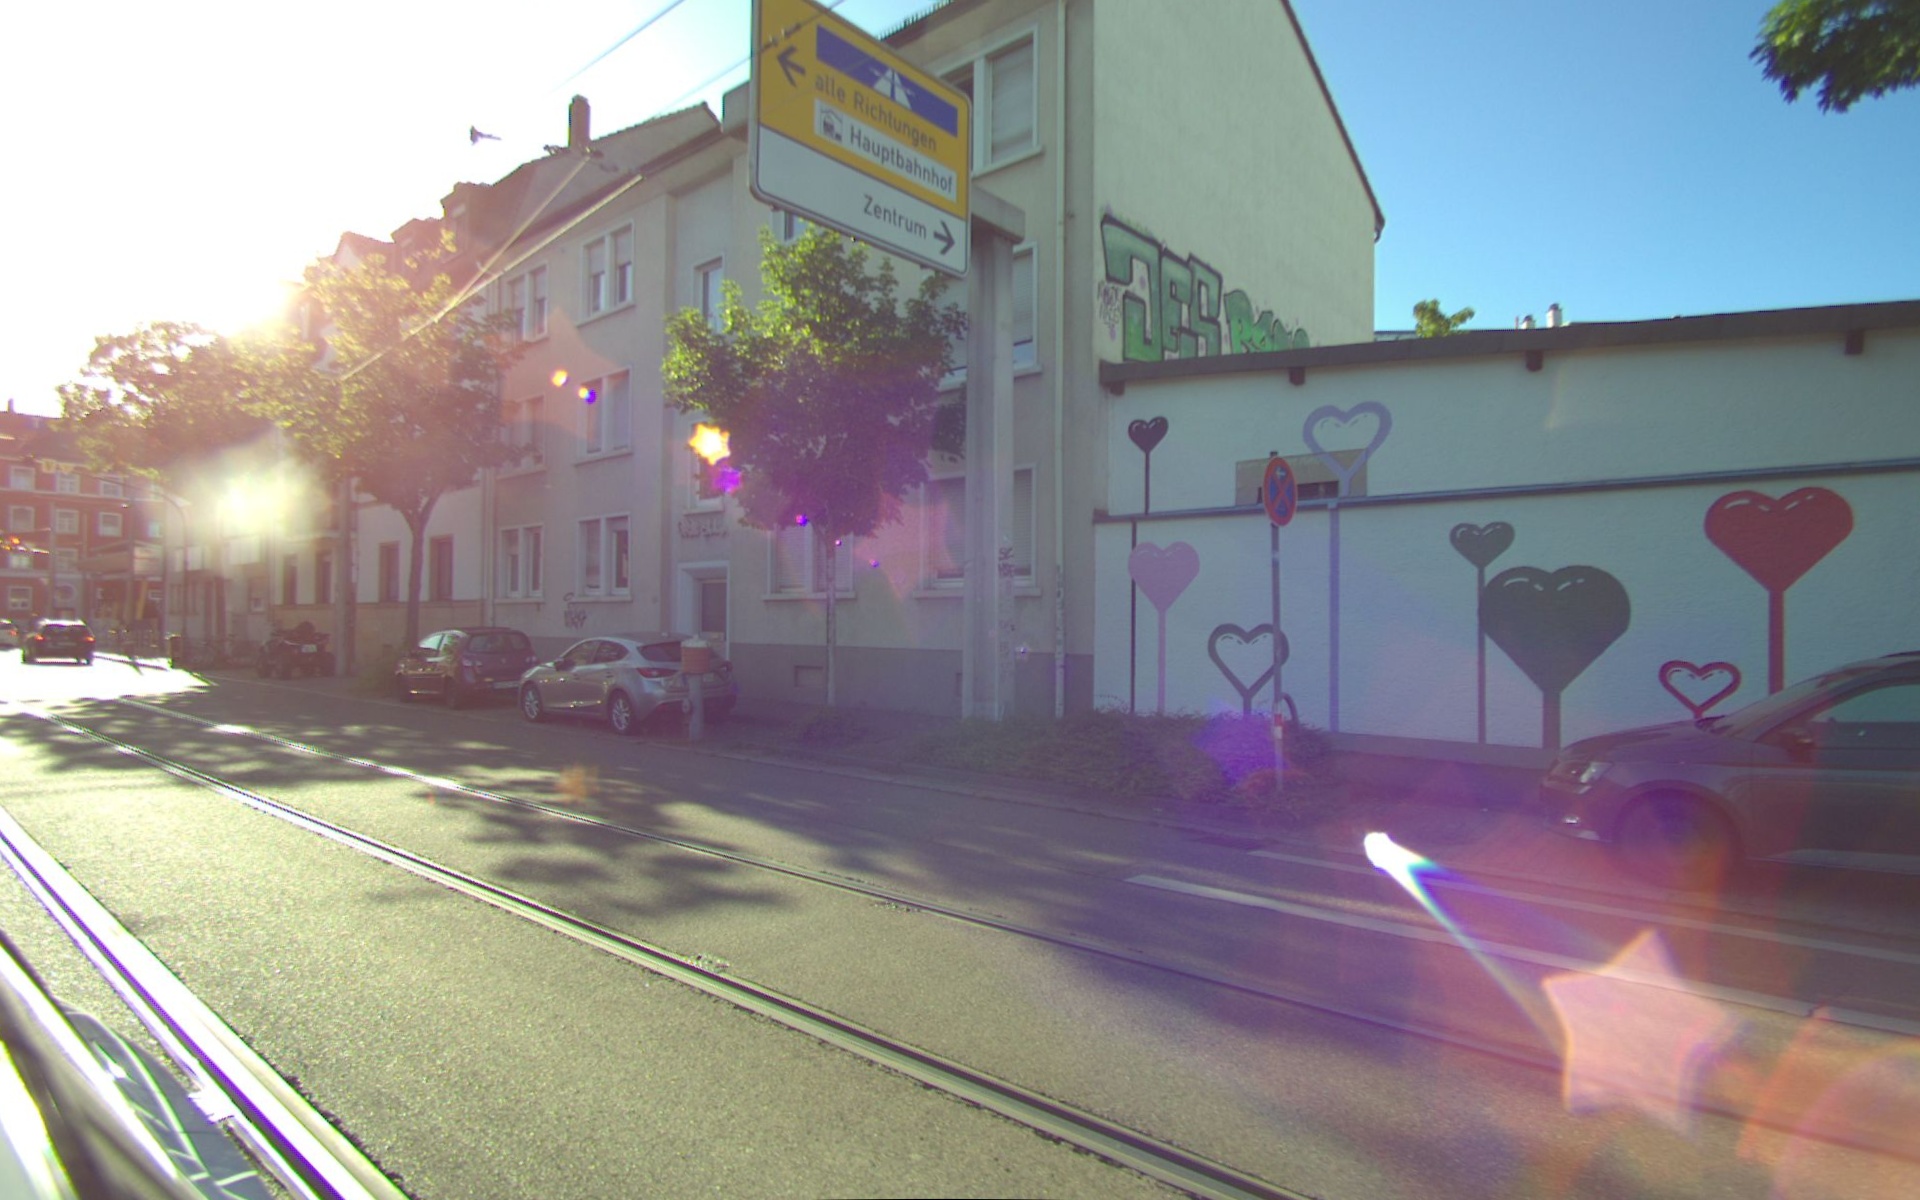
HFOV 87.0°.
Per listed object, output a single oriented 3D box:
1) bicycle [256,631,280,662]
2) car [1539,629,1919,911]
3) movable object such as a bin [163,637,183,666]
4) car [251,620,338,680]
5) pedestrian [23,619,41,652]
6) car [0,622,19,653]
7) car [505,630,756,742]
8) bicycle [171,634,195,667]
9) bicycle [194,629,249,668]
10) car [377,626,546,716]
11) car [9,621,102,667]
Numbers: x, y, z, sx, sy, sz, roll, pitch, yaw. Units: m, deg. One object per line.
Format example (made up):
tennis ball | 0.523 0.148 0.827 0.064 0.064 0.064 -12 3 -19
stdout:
bicycle | -24.762 1.662 36.198 1.661 1.050 0.300 -1 -1 41
car | 6.062 0.959 6.016 4.303 1.497 1.754 -1 -1 41
movable object such as a bin | -26.384 1.733 33.935 0.582 0.942 0.420 -1 -1 41
car | -18.048 1.359 27.406 2.545 1.514 1.341 -4 -3 41
pedestrian | -50.567 1.942 55.149 0.583 1.787 0.631 -1 -1 41
car | -49.175 1.886 51.203 3.998 1.537 1.898 -1 -1 41
car | -5.288 1.242 15.993 4.291 1.440 1.854 -1 -1 41
bicycle | -25.400 1.644 33.093 1.661 1.050 0.300 -1 -1 41
bicycle | -23.438 1.530 32.132 0.409 1.178 1.326 -1 -1 41
car | -9.774 1.300 19.723 3.998 1.516 1.555 -1 -1 41
car | -31.972 1.534 35.735 4.743 1.474 1.748 0 -3 40
